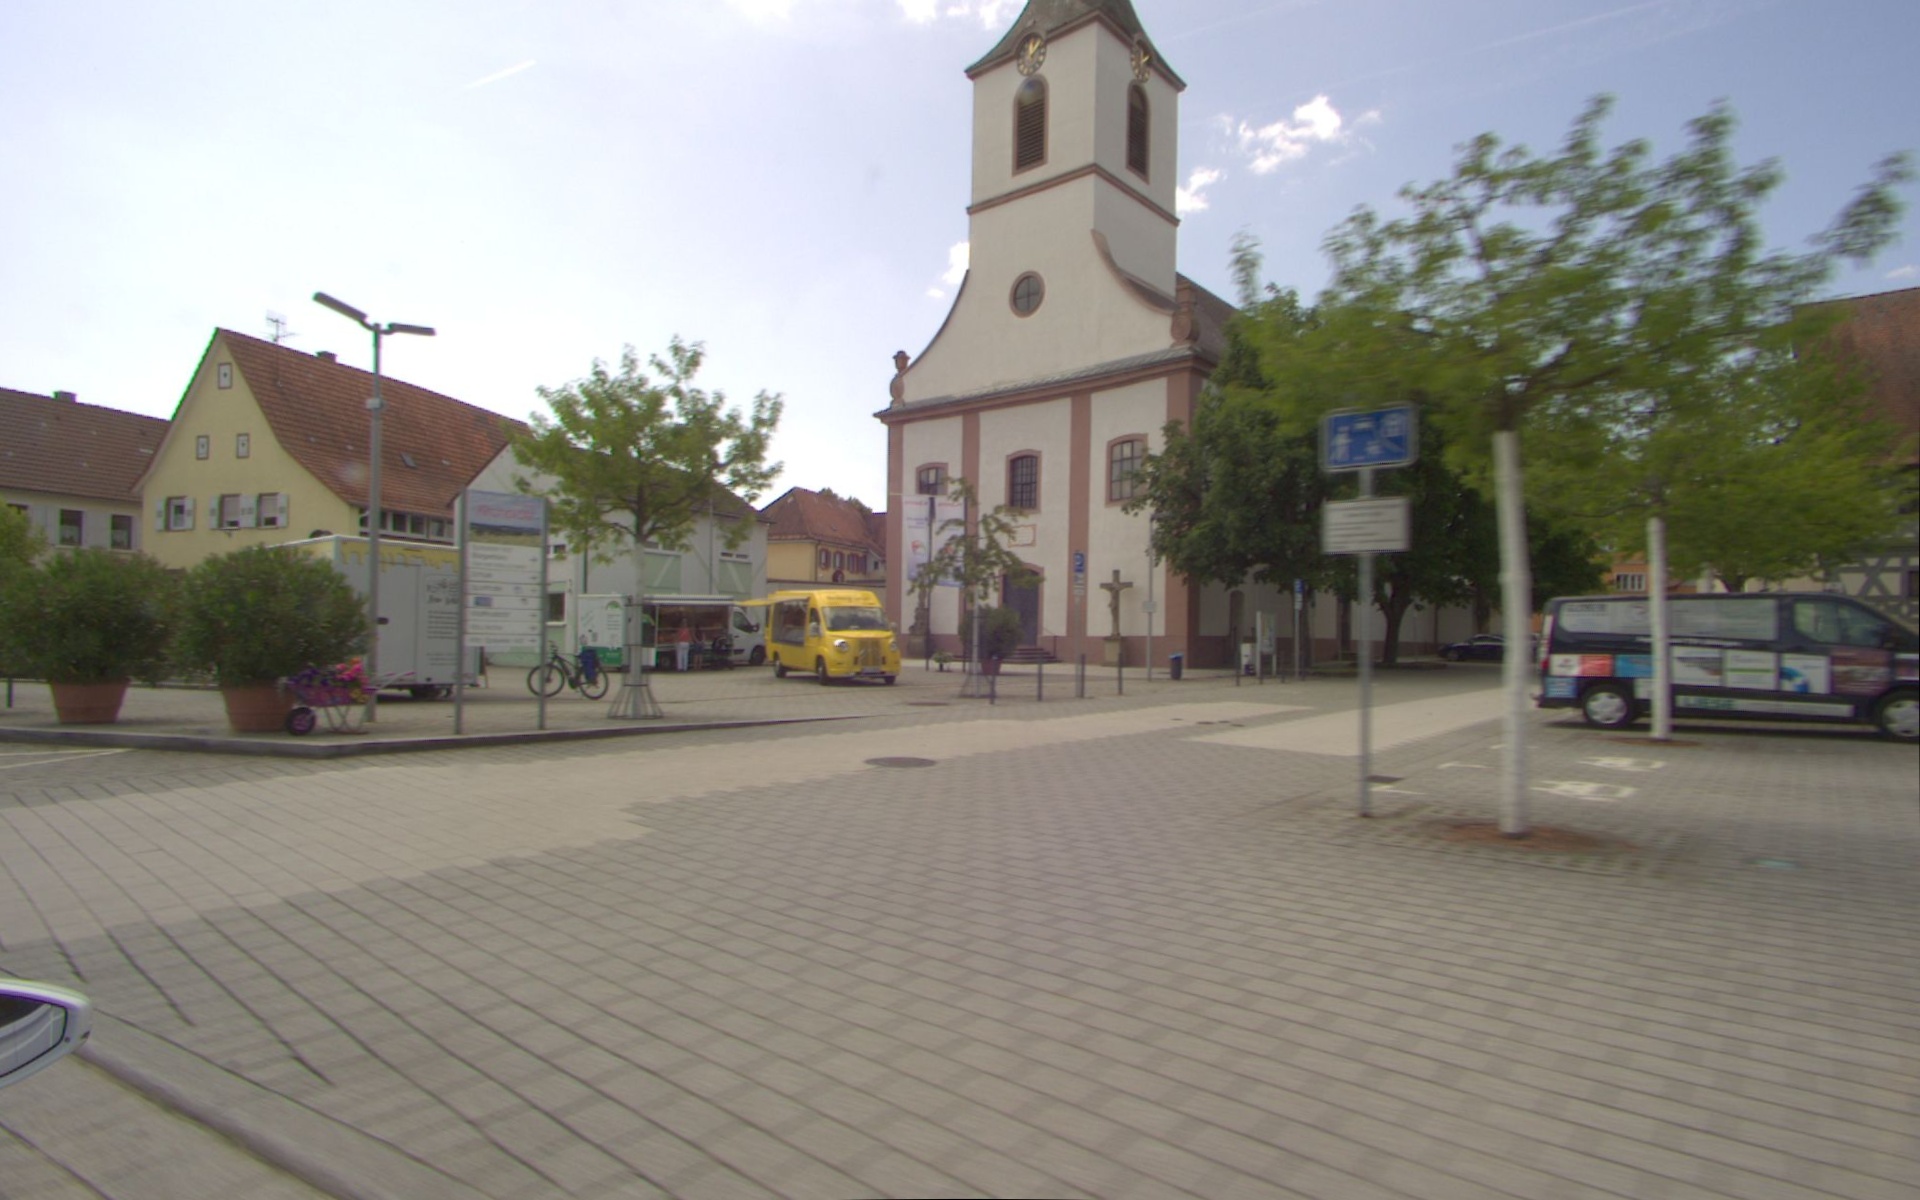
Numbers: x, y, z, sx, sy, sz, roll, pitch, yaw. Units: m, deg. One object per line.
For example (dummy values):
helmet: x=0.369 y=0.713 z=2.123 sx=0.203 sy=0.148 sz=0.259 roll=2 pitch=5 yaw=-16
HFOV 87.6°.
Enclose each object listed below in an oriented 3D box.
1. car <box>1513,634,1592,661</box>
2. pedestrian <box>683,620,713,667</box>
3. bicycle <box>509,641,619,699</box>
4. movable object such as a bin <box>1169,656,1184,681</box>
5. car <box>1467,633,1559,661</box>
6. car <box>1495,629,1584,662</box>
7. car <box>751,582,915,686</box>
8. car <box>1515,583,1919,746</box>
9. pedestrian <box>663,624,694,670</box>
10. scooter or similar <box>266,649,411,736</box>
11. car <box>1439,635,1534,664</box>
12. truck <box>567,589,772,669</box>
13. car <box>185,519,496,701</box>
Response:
car: x=36.292 y=2.876 z=61.339 sx=3.951 sy=1.523 sz=1.986 roll=0 pitch=-2 yaw=39
pedestrian: x=-8.850 y=1.477 z=33.809 sx=0.803 sy=1.560 sz=0.559 roll=0 pitch=-1 yaw=31
bicycle: x=-8.024 y=1.393 z=20.291 sx=2.074 sy=1.082 sz=0.755 roll=1 pitch=-1 yaw=19
movable object such as a bin: x=6.369 y=2.003 z=29.472 sx=0.359 sy=0.708 sz=0.293 roll=0 pitch=-1 yaw=28
car: x=27.520 y=2.325 z=49.874 sx=3.807 sy=1.245 sz=1.718 roll=0 pitch=-2 yaw=40
car: x=31.648 y=2.458 z=54.690 sx=3.951 sy=1.679 sz=1.986 roll=0 pitch=-2 yaw=39
car: x=-3.762 y=0.931 z=28.044 sx=2.612 sy=2.509 sz=6.941 roll=1 pitch=-2 yaw=-24
car: x=11.275 y=0.855 z=14.453 sx=5.431 sy=2.039 sz=1.985 roll=0 pitch=-2 yaw=41
pedestrian: x=-9.260 y=1.537 z=32.961 sx=0.749 sy=1.461 sz=0.642 roll=-1 pitch=-1 yaw=29
scooter or similar: x=-6.998 y=1.015 z=11.308 sx=0.803 sy=0.892 sz=1.141 roll=0 pitch=-1 yaw=28
car: x=25.314 y=2.368 z=48.185 sx=3.807 sy=1.245 sz=1.718 roll=0 pitch=-2 yaw=40
truck: x=-9.990 y=1.037 z=35.210 sx=2.913 sy=2.529 sz=6.796 roll=0 pitch=-2 yaw=30
car: x=-12.333 y=0.295 z=19.691 sx=7.022 sy=2.999 sz=2.745 roll=-1 pitch=-3 yaw=37
